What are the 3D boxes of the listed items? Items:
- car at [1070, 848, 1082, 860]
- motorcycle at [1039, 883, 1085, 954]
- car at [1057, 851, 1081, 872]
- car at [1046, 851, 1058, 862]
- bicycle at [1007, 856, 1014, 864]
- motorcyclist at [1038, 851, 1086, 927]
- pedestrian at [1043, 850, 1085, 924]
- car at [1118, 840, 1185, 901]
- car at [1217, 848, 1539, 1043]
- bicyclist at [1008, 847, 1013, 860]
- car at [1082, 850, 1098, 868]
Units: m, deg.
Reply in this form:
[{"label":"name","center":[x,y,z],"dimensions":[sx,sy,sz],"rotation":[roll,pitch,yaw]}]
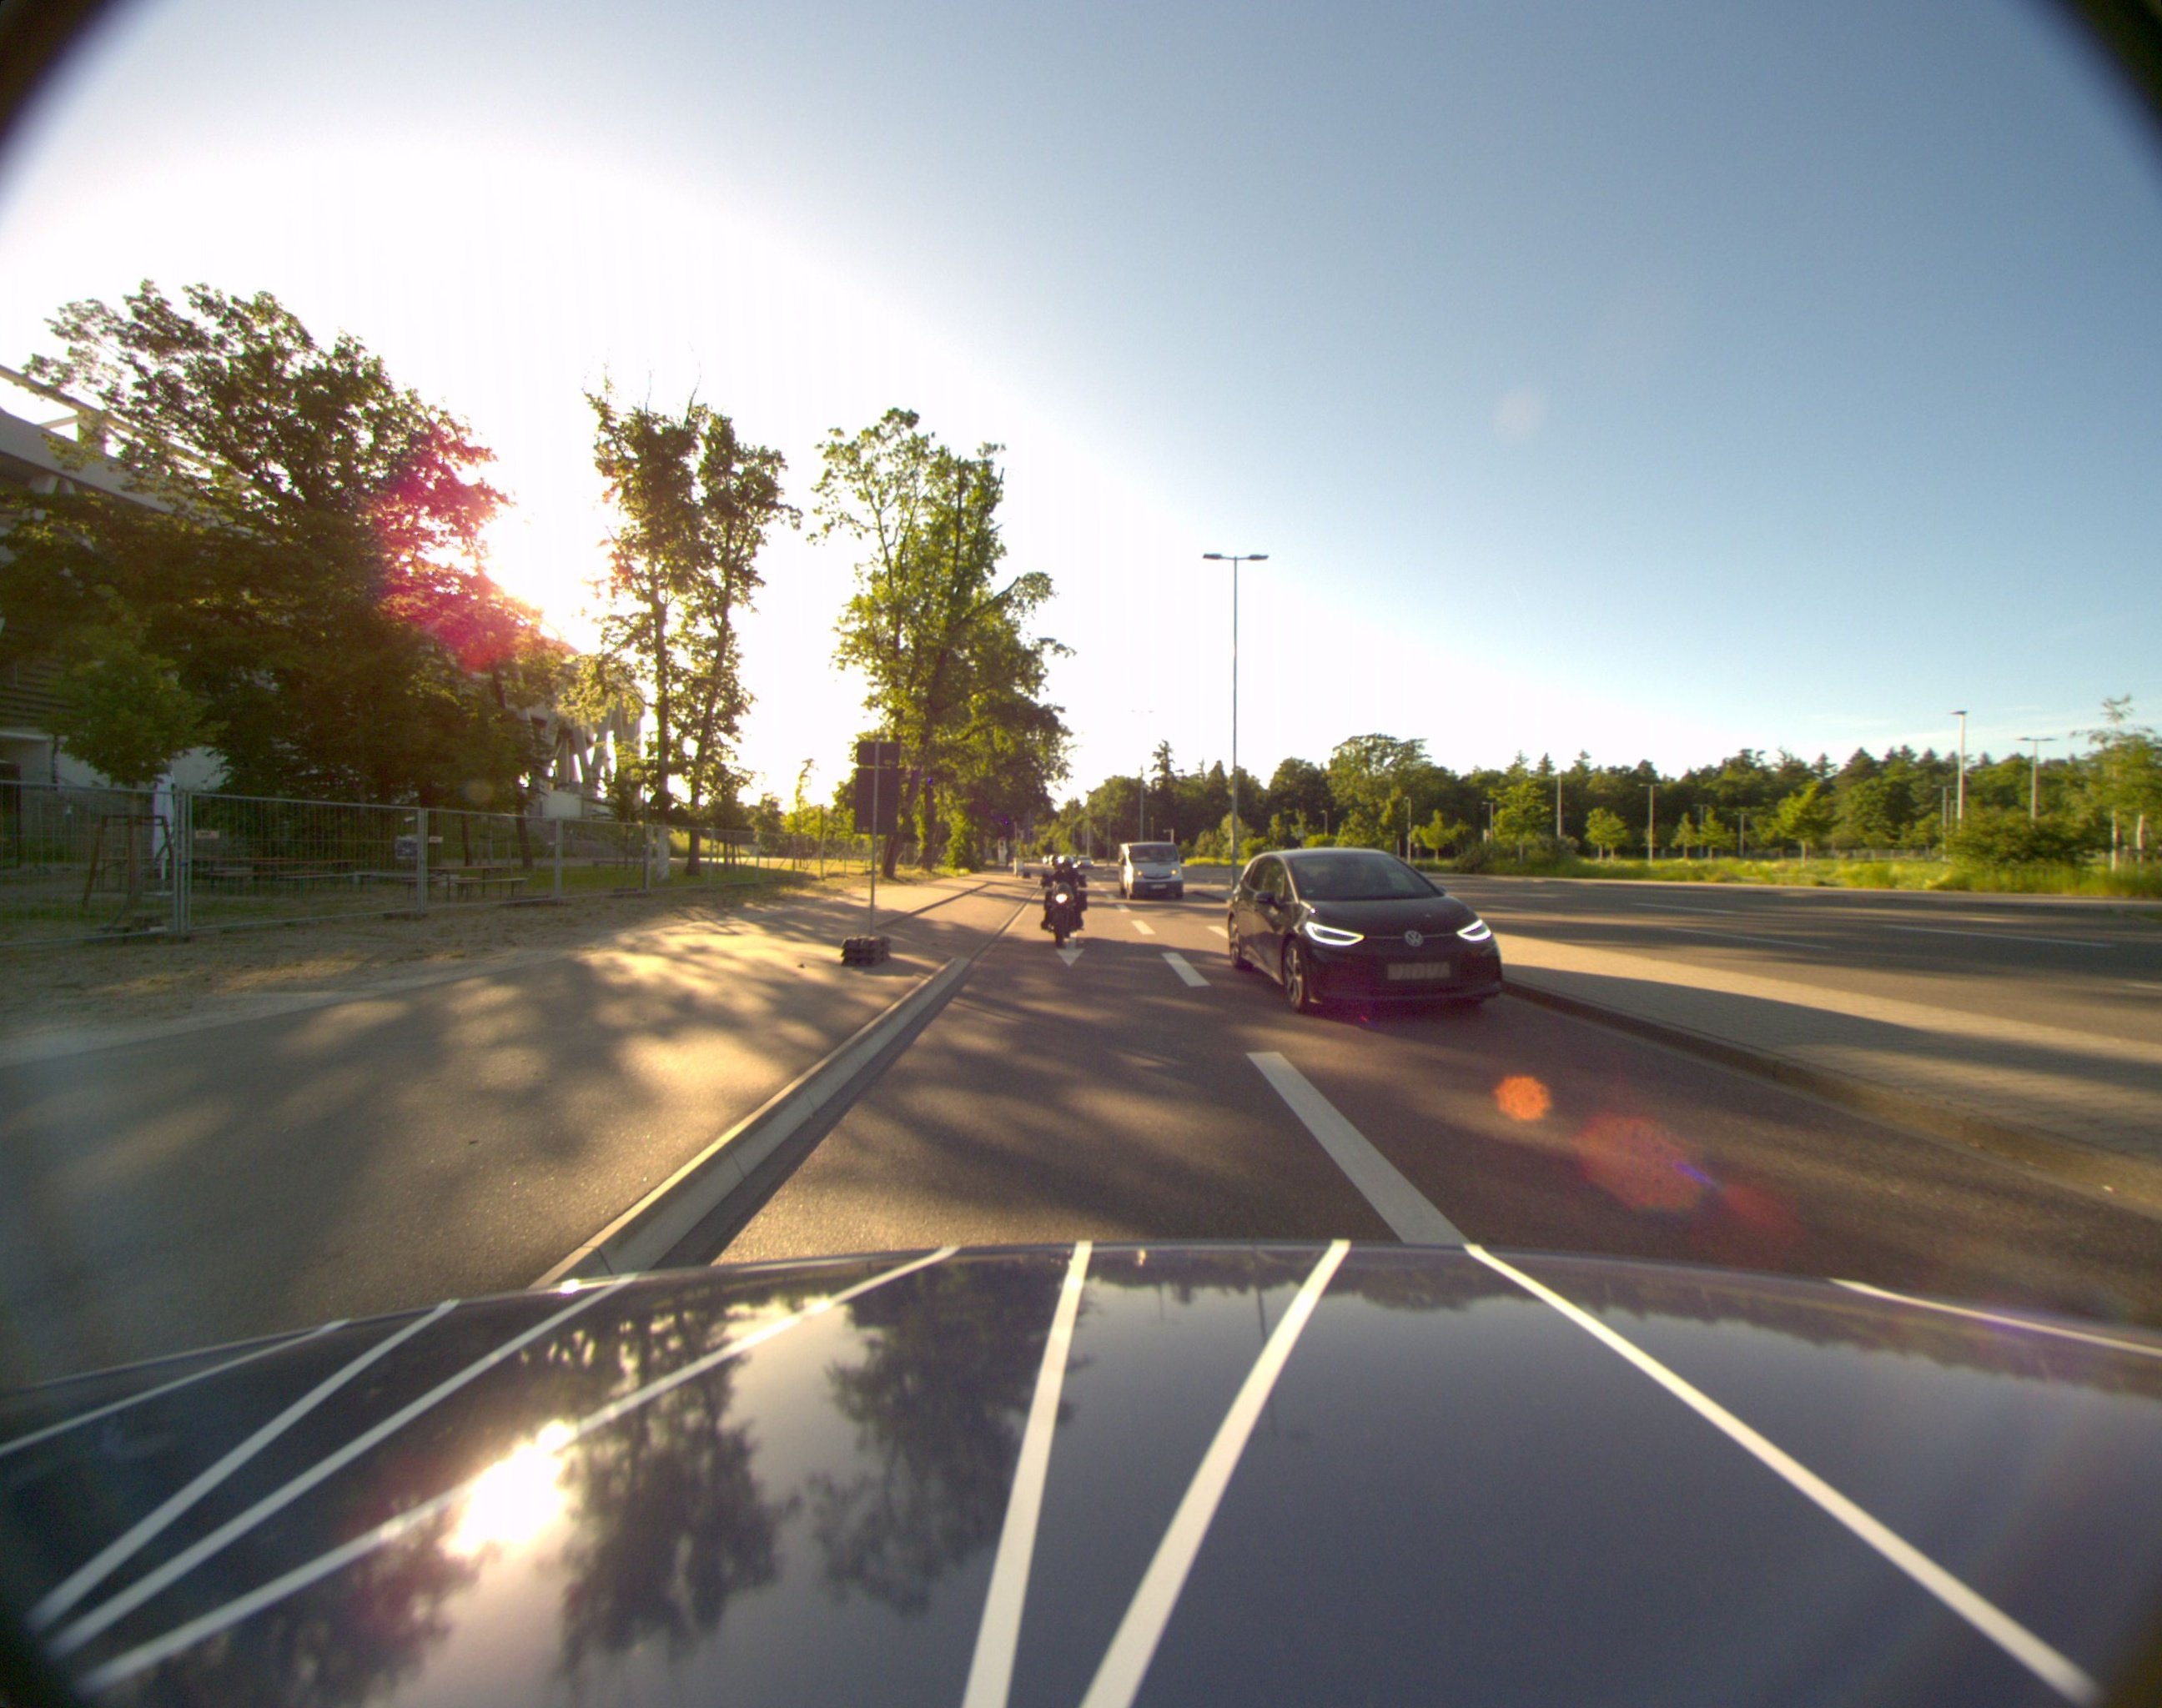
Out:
[{"label":"car","center":[-0.701,0.023,110.148],"dimensions":[1.638,1.674,4.000],"rotation":[-2,1,1]},{"label":"motorcycle","center":[-0.310,1.136,14.158],"dimensions":[0.717,1.058,2.721],"rotation":[-2,0,1]},{"label":"car","center":[-0.978,0.617,63.416],"dimensions":[1.883,1.629,5.048],"rotation":[-2,0,0]},{"label":"car","center":[-5.164,0.498,134.965],"dimensions":[1.774,1.849,3.999],"rotation":[-2,1,1]},{"label":"bicycle","center":[-7.650,0.676,82.584],"dimensions":[0.481,0.854,1.910],"rotation":[0,0,1]},{"label":"motorcyclist","center":[-0.351,0.640,14.204],"dimensions":[0.822,1.367,0.476],"rotation":[-2,1,1]},{"label":"pedestrian","center":[-0.329,0.622,14.707],"dimensions":[0.739,1.387,0.500],"rotation":[-2,1,1]},{"label":"car","center":[2.430,0.551,27.420],"dimensions":[1.883,1.951,5.048],"rotation":[-2,0,0]},{"label":"car","center":[2.817,0.743,8.270],"dimensions":[1.883,1.528,3.999],"rotation":[-2,1,0]},{"label":"bicyclist","center":[-7.646,-0.090,82.486],"dimensions":[0.451,1.412,0.575],"rotation":[0,1,1]},{"label":"car","center":[1.033,0.527,84.449],"dimensions":[1.675,1.827,3.982],"rotation":[-2,1,1]}]
